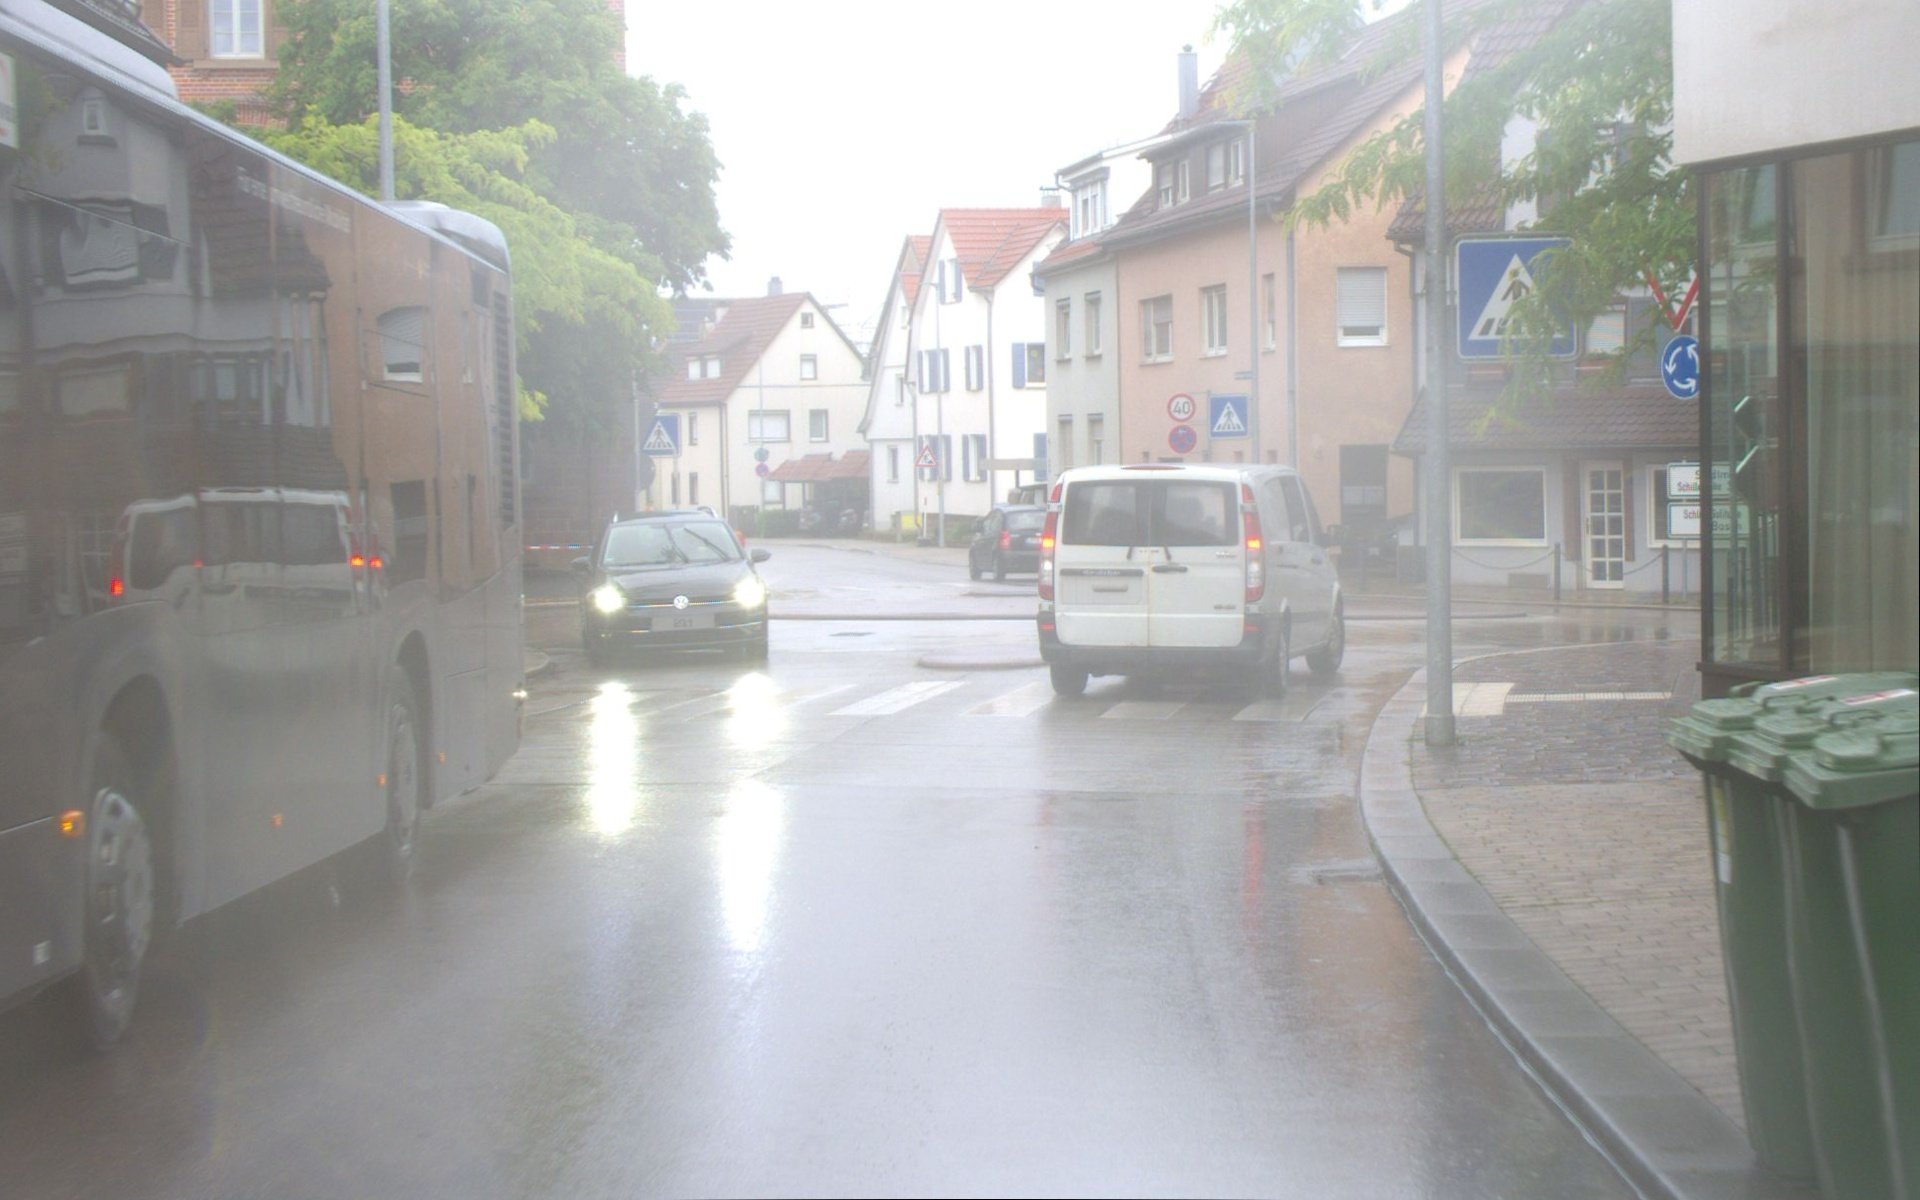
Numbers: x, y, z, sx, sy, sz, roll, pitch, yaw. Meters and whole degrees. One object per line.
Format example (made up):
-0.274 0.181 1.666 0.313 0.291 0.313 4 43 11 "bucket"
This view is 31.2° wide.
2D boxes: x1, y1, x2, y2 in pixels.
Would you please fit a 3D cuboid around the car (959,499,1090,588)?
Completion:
1.223 -1.095 67.155 1.972 1.674 4.069 0 1 -8 "car"

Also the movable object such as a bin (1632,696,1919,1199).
1.911 0.786 7.675 0.724 1.114 0.576 0 1 2 "movable object such as a bin"

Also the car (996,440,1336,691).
1.818 -0.284 28.532 2.154 1.892 4.923 0 1 11 "car"

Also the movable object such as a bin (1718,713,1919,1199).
1.872 0.788 6.479 0.761 1.114 0.624 0 1 2 "movable object such as a bin"

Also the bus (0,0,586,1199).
-3.402 -0.297 11.990 2.723 3.069 10.946 0 1 1 "bus"

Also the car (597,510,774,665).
-2.734 -0.177 34.996 1.665 1.425 4.470 0 2 -3 "car"

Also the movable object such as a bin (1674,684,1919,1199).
1.886 0.744 7.083 0.724 1.114 0.576 0 1 2 "movable object such as a bin"

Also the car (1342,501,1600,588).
8.875 -0.955 59.870 3.986 1.481 2.001 0 1 -13 "car"
